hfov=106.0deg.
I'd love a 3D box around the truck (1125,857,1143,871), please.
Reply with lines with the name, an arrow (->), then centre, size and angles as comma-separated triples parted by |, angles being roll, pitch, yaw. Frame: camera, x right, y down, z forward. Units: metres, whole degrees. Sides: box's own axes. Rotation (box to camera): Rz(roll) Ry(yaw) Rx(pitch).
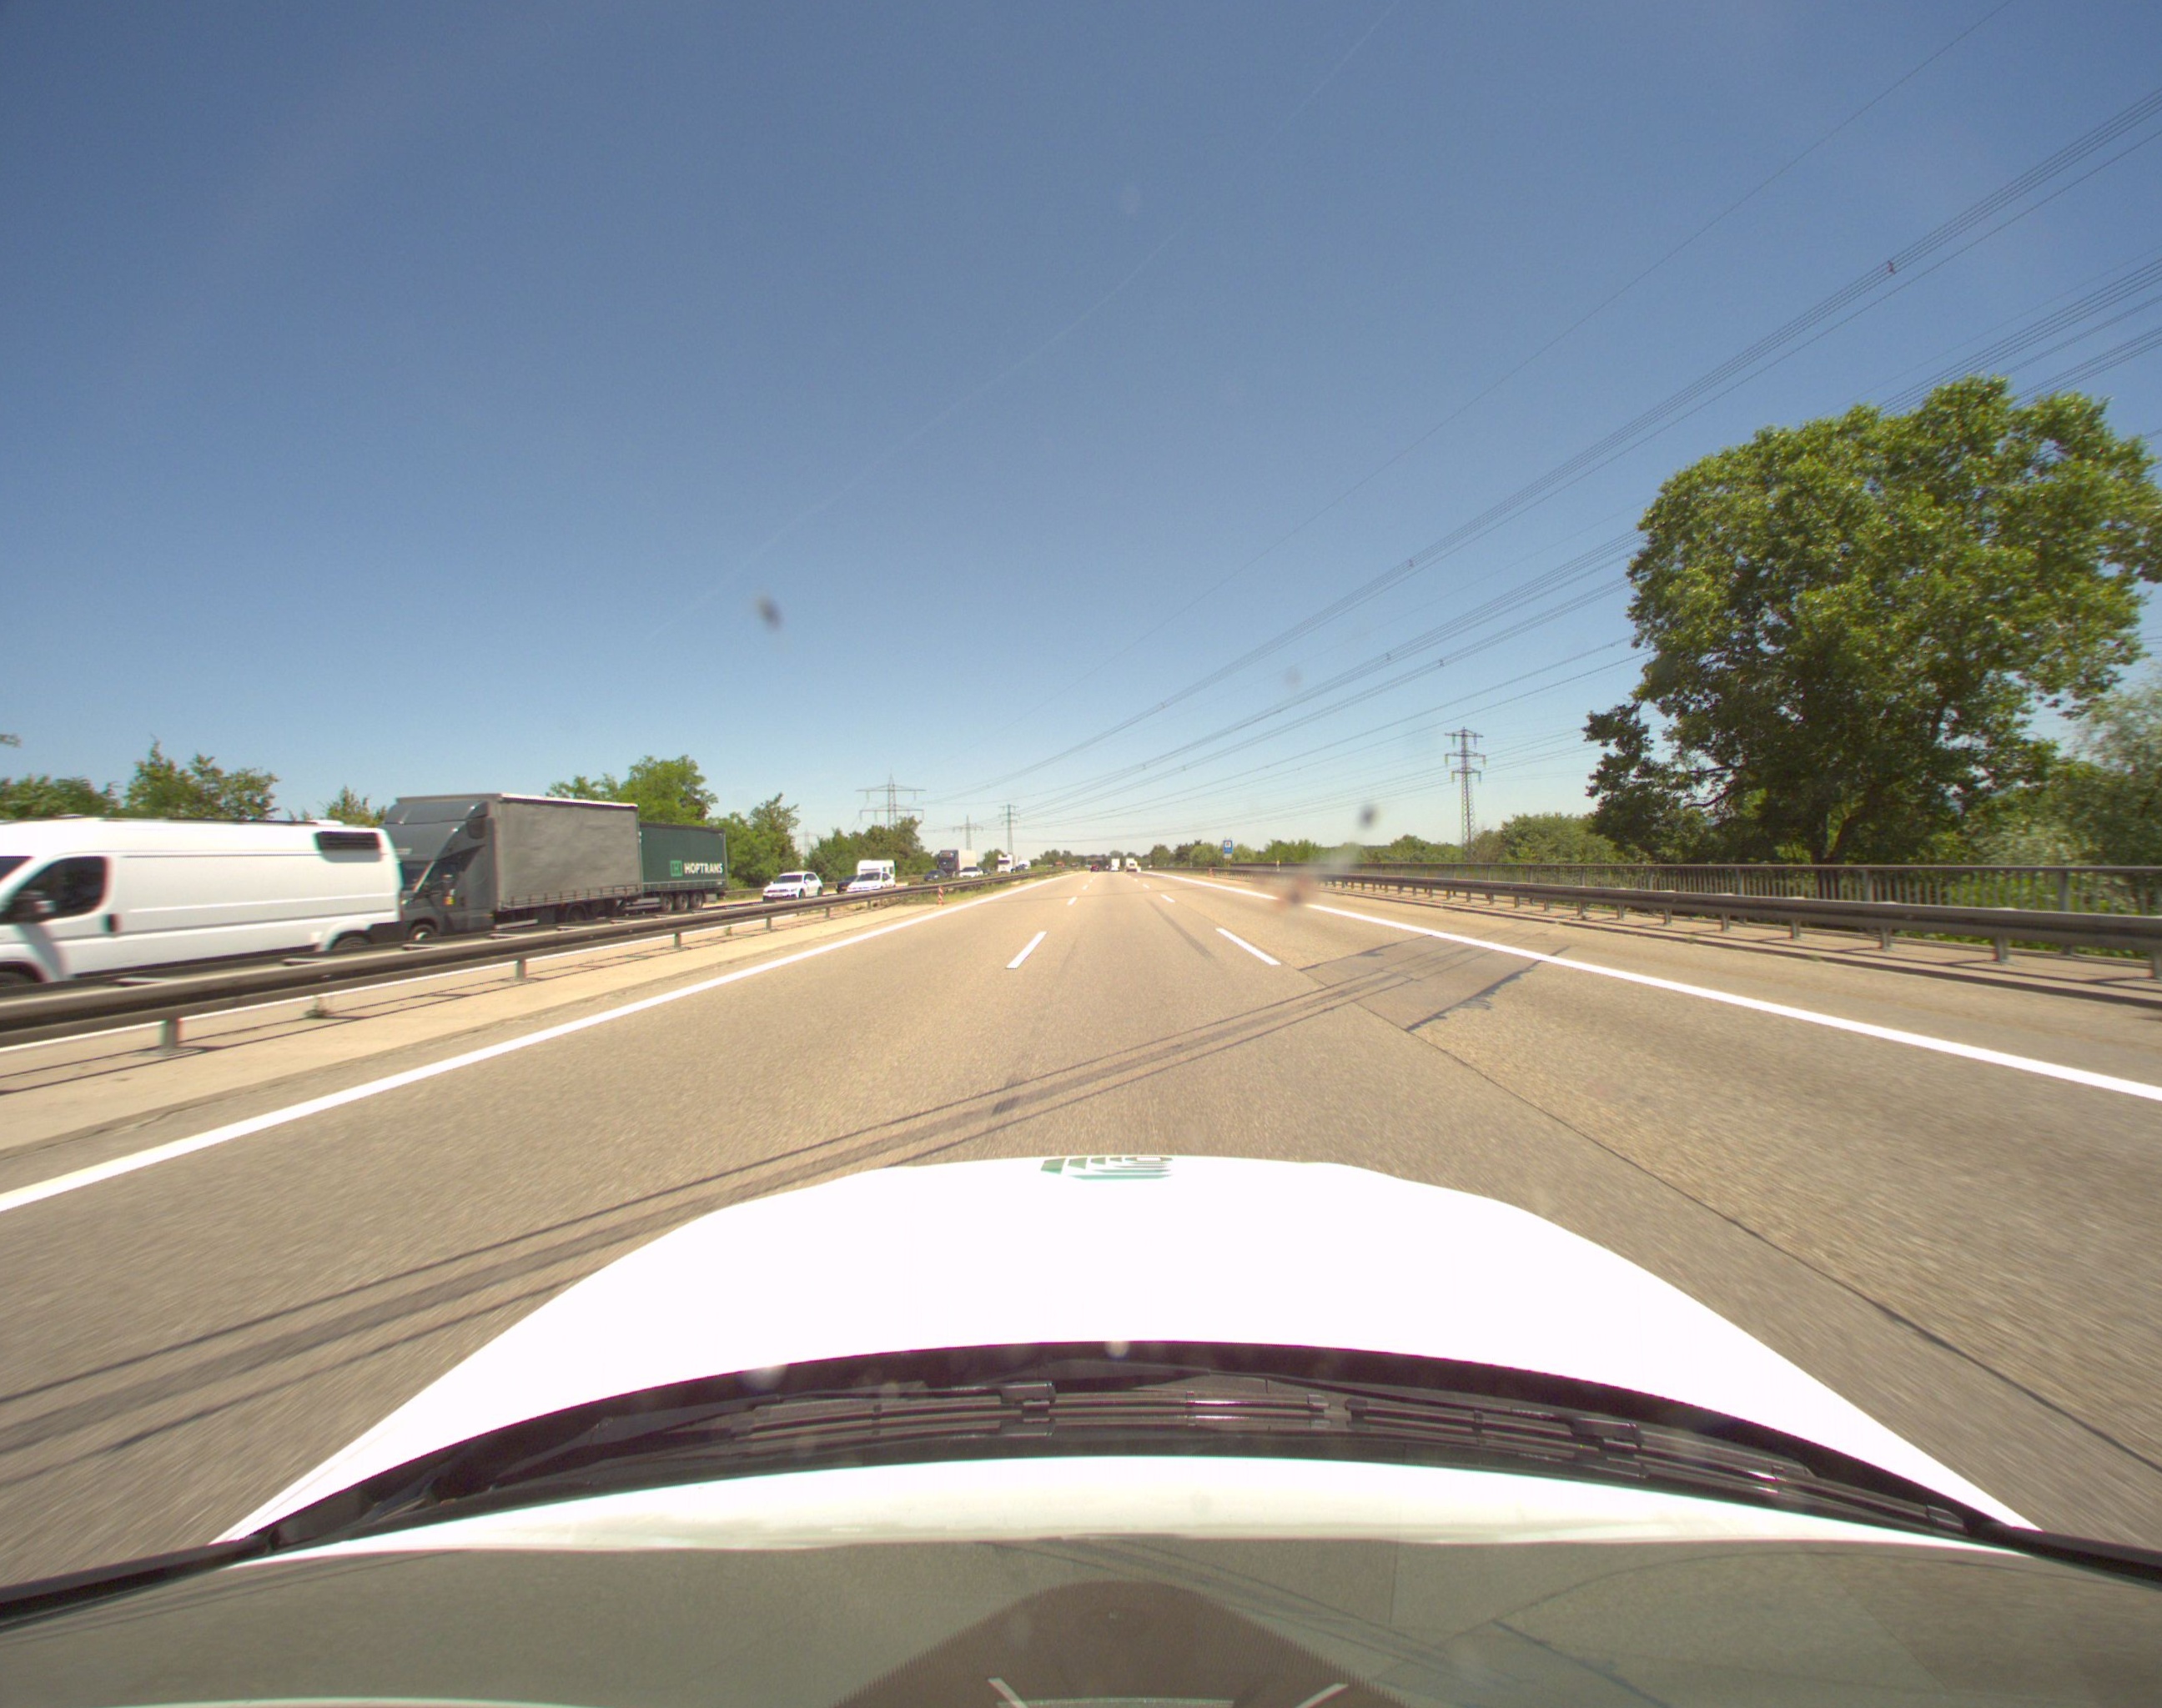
truck -> 16.921, 3.042, 260.066 | 3.159, 4.304, 16.072 | -1, 0, 13

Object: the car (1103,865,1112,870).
car -> 8.055, 4.235, 248.849 | 1.816, 1.547, 4.333 | 0, -1, 12

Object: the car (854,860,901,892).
car -> -17.774, 1.864, 71.448 | 2.409, 2.614, 5.719 | -3, 0, 2

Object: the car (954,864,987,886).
car -> -10.494, 1.942, 77.616 | 2.289, 2.014, 4.559 | -1, 0, 2

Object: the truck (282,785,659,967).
truck -> -15.678, 0.513, 22.374 | 2.845, 3.918, 9.501 | -1, 0, 3

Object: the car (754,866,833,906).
car -> -14.852, 1.616, 42.452 | 2.067, 1.831, 5.110 | -3, 0, 2

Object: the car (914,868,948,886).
car -> -16.079, 2.420, 87.528 | 2.473, 1.637, 4.752 | -3, 0, 2

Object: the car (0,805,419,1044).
car -> -12.735, 0.805, 11.176 | 2.161, 2.584, 6.041 | -2, 0, 2

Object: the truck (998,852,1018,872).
truck -> -14.448, 1.542, 162.155 | 2.682, 3.950, 10.597 | -1, 0, 2

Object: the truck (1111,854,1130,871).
truck -> 12.771, 2.671, 262.103 | 3.642, 5.018, 16.070 | -1, 0, 12

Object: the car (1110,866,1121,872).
car -> 8.741, 3.784, 205.037 | 1.814, 1.547, 4.337 | 0, -1, 16

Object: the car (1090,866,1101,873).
car -> 3.418, 3.566, 188.682 | 1.816, 1.547, 4.333 | 0, -1, 12

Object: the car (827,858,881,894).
car -> -17.950, 1.665, 64.857 | 2.409, 2.614, 5.719 | -3, 0, 2

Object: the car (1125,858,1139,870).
car -> 10.112, 1.960, 161.226 | 2.433, 2.321, 5.323 | -2, 0, 2

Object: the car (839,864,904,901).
car -> -11.466, 1.496, 44.970 | 2.067, 1.791, 5.110 | -3, 0, 2

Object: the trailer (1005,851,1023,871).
trailer -> -14.141, 1.474, 171.765 | 2.831, 4.164, 8.330 | -1, 0, 2

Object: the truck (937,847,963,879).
truck -> -16.809, 1.136, 105.047 | 2.414, 4.111, 4.922 | -1, 0, 2

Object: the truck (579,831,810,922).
truck -> -19.023, 0.985, 42.586 | 3.231, 3.802, 17.023 | -1, 0, 3

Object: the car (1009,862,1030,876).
car -> -8.943, 2.156, 118.868 | 2.473, 1.931, 5.741 | -1, 0, 2
